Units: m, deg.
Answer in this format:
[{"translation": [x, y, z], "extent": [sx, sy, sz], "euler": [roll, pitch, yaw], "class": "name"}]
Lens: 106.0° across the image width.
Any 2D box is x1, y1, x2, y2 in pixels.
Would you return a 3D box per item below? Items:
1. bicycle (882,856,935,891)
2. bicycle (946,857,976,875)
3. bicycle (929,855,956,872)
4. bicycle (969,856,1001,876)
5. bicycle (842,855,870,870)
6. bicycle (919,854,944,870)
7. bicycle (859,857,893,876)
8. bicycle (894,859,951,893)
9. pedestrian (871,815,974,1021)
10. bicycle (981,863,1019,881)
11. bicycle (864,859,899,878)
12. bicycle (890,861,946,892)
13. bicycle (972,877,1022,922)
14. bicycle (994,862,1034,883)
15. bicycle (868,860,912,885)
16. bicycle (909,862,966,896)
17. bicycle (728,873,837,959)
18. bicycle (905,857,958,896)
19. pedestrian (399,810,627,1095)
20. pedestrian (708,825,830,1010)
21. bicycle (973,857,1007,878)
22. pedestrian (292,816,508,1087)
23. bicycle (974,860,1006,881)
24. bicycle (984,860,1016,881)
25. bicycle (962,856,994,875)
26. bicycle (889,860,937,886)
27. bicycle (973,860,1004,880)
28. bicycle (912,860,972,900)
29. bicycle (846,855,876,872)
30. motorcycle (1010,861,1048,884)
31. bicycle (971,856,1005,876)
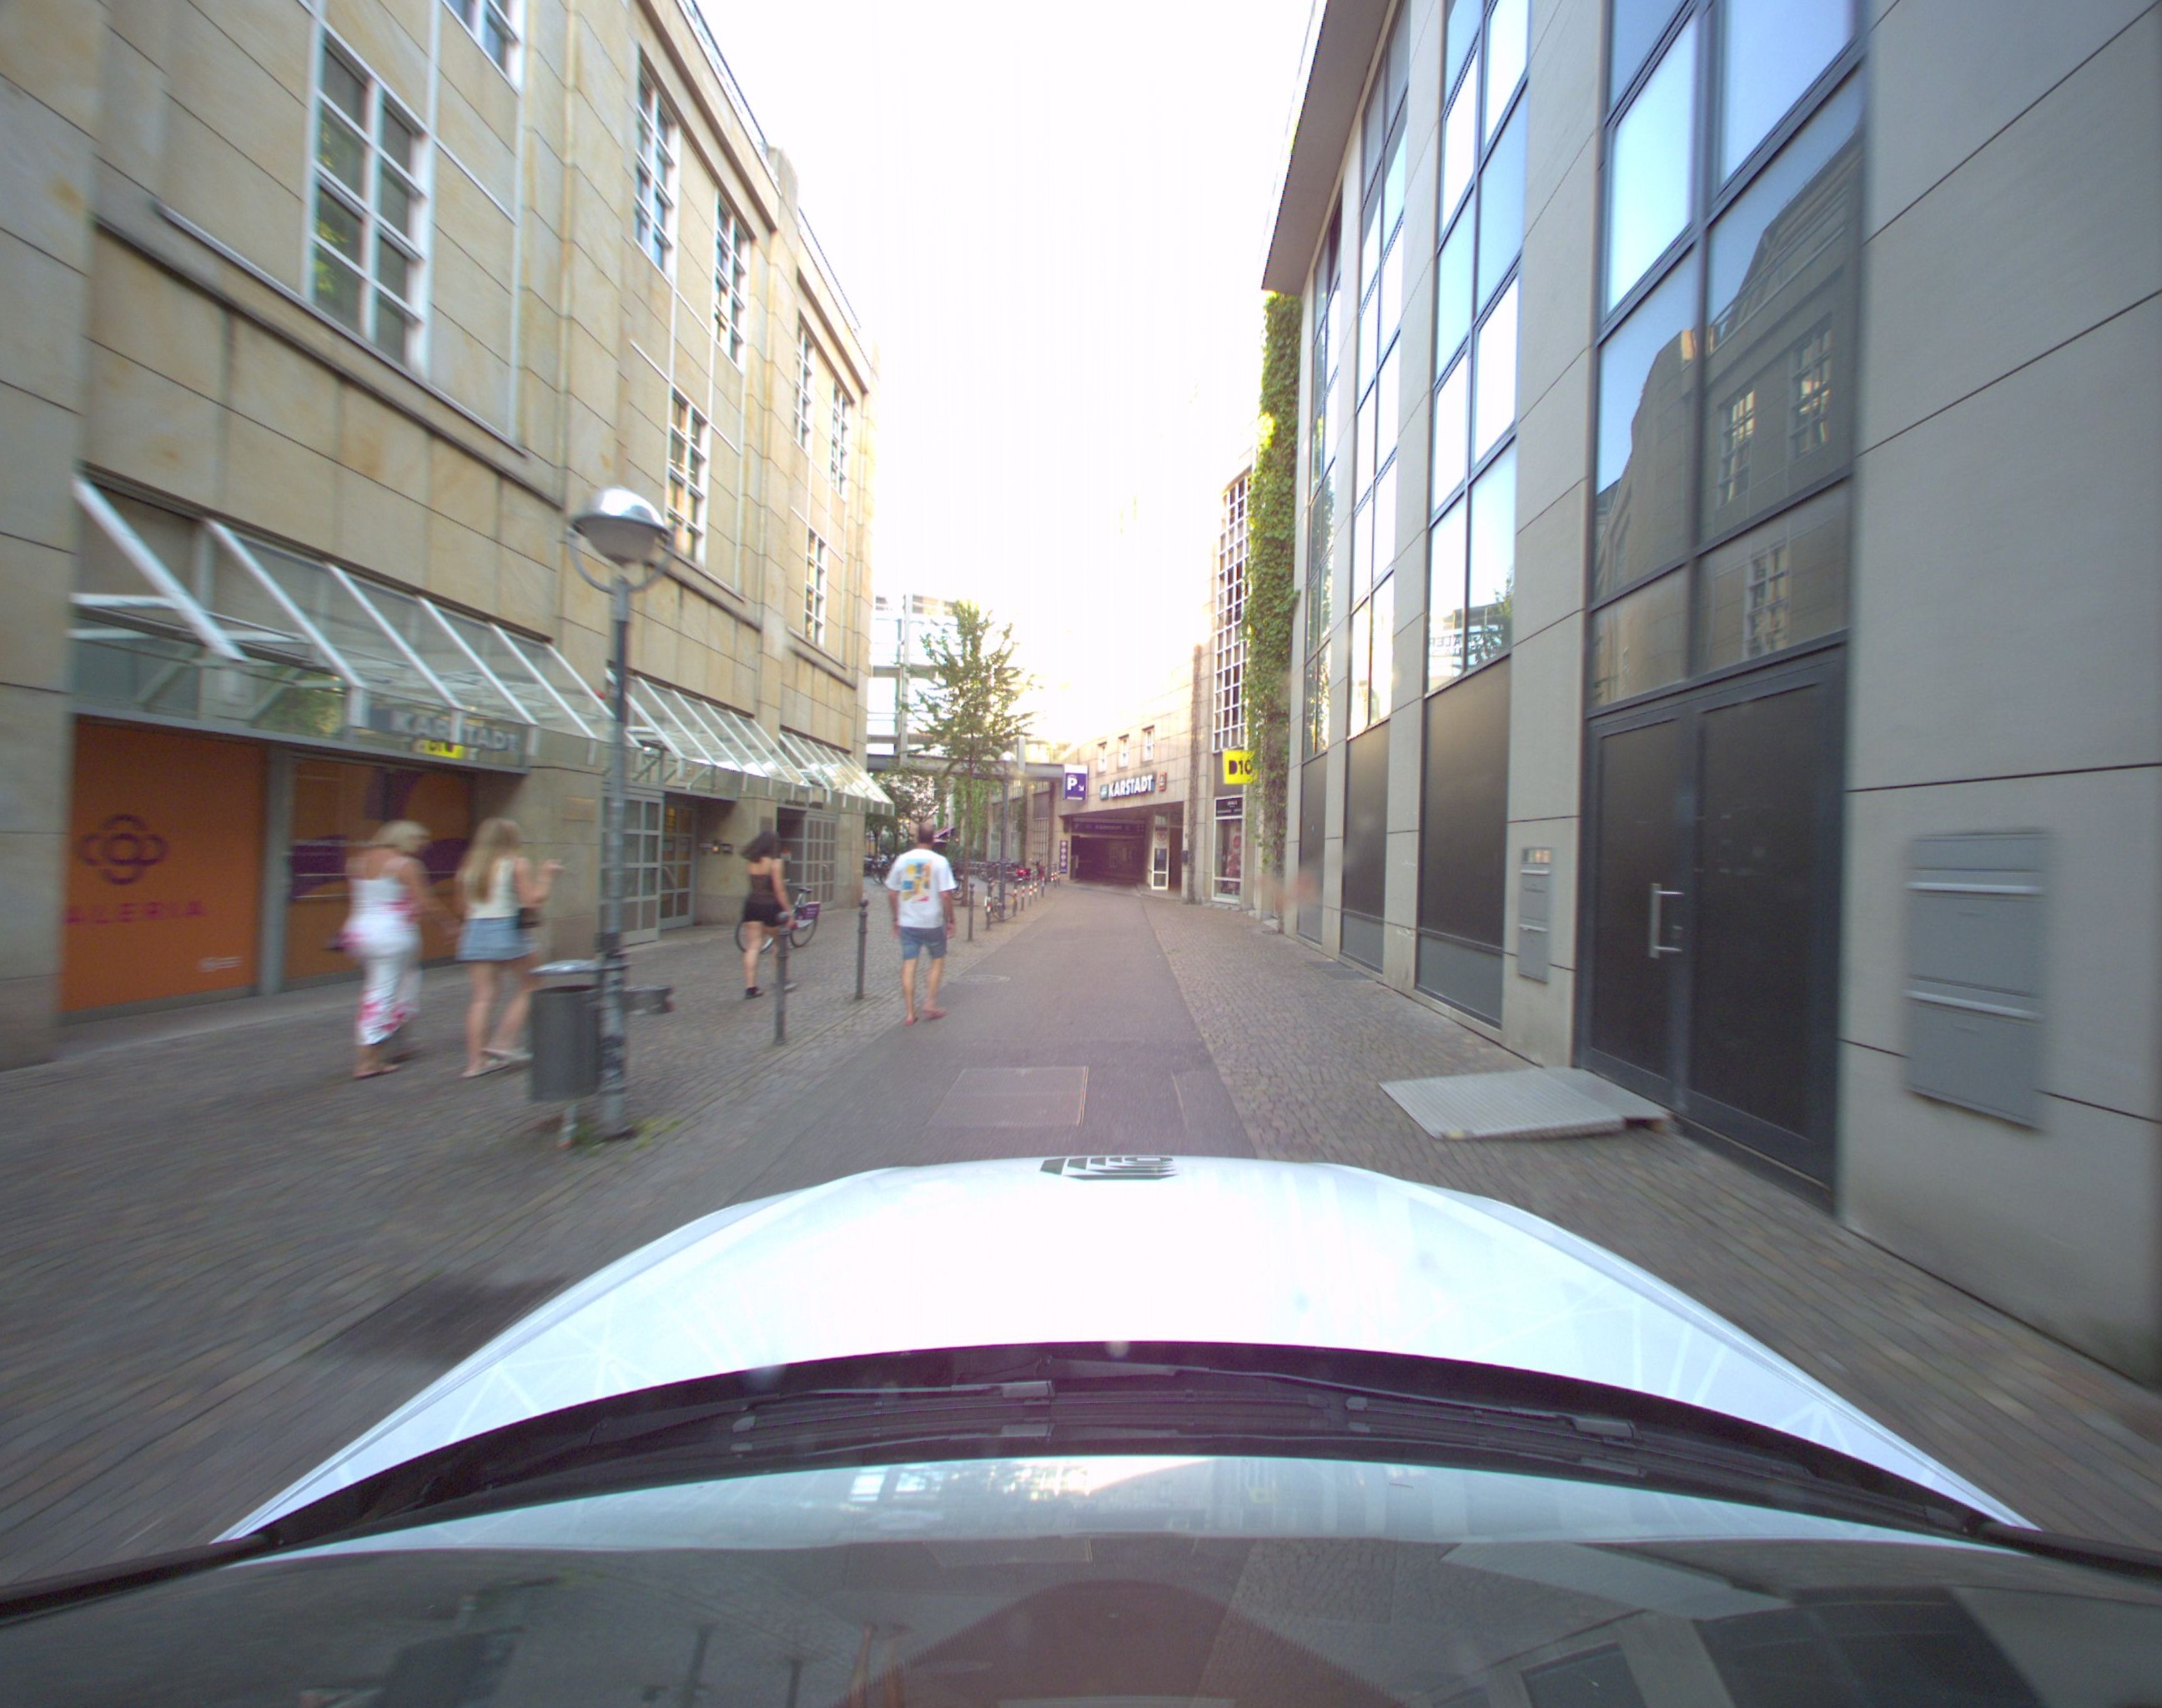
[{"translation": [-6.301, 0.704, 29.774], "extent": [1.840, 1.225, 0.530], "euler": [1, 0, -21], "class": "bicycle"}, {"translation": [-7.394, 0.727, 50.183], "extent": [1.778, 1.114, 0.539], "euler": [1, 0, -19], "class": "bicycle"}, {"translation": [-9.574, 0.672, 56.129], "extent": [1.777, 1.114, 0.540], "euler": [1, 0, -16], "class": "bicycle"}, {"translation": [-5.528, 0.705, 46.849], "extent": [1.778, 1.114, 0.539], "euler": [1, 0, -19], "class": "bicycle"}, {"translation": [-16.447, 0.619, 59.568], "extent": [1.911, 1.112, 0.478], "euler": [1, 0, -21], "class": "bicycle"}, {"translation": [-11.232, 0.579, 61.252], "extent": [1.778, 1.190, 0.583], "euler": [1, 0, -19], "class": "bicycle"}, {"translation": [-11.303, 0.681, 44.837], "extent": [1.786, 1.019, 0.478], "euler": [1, 0, -21], "class": "bicycle"}, {"translation": [-5.550, 0.770, 28.551], "extent": [1.879, 1.177, 0.530], "euler": [1, 0, -21], "class": "bicycle"}, {"translation": [-1.468, 0.567, 7.673], "extent": [0.739, 1.822, 0.878], "euler": [1, 0, 1], "class": "pedestrian"}, {"translation": [-3.972, 0.885, 40.033], "extent": [1.778, 0.904, 0.461], "euler": [1, 0, -19], "class": "bicycle"}, {"translation": [-10.761, 0.775, 43.986], "extent": [1.786, 1.019, 0.478], "euler": [1, 0, -21], "class": "bicycle"}, {"translation": [-5.810, 0.797, 29.087], "extent": [1.901, 1.052, 0.530], "euler": [1, 0, -21], "class": "bicycle"}, {"translation": [-1.932, 1.035, 18.886], "extent": [0.489, 0.939, 1.666], "euler": [3, 0, 17], "class": "bicycle"}, {"translation": [-3.207, 0.869, 39.163], "extent": [1.853, 0.982, 0.461], "euler": [1, 0, -19], "class": "bicycle"}, {"translation": [-8.295, 0.809, 35.368], "extent": [1.831, 1.043, 0.530], "euler": [1, 0, -21], "class": "bicycle"}, {"translation": [-4.859, 0.840, 27.579], "extent": [1.843, 1.122, 0.530], "euler": [1, 0, -21], "class": "bicycle"}, {"translation": [-4.396, 0.880, 12.127], "extent": [0.517, 1.138, 1.773], "euler": [1, 0, 18], "class": "bicycle"}, {"translation": [-4.904, 0.730, 26.729], "extent": [1.659, 1.230, 0.530], "euler": [1, 0, -21], "class": "bicycle"}, {"translation": [-3.752, 0.606, 5.478], "extent": [0.803, 1.729, 0.949], "euler": [2, 0, 1], "class": "pedestrian"}, {"translation": [-3.223, 0.622, 8.496], "extent": [0.781, 1.795, 0.974], "euler": [1, 0, 7], "class": "pedestrian"}, {"translation": [-4.988, 0.758, 44.559], "extent": [1.778, 1.114, 0.539], "euler": [1, 0, -19], "class": "bicycle"}, {"translation": [-4.540, 0.605, 5.498], "extent": [0.672, 1.664, 0.860], "euler": [2, 0, 1], "class": "pedestrian"}, {"translation": [-4.676, 0.832, 41.979], "extent": [1.544, 1.049, 0.572], "euler": [1, 0, -19], "class": "bicycle"}, {"translation": [-4.082, 0.820, 40.987], "extent": [1.544, 1.049, 0.572], "euler": [1, 0, -19], "class": "bicycle"}, {"translation": [-6.034, 0.680, 47.893], "extent": [1.778, 1.114, 0.539], "euler": [1, 0, -19], "class": "bicycle"}, {"translation": [-6.919, 0.768, 33.576], "extent": [1.883, 1.043, 0.530], "euler": [1, 0, -21], "class": "bicycle"}, {"translation": [-4.932, 0.850, 43.382], "extent": [1.544, 1.049, 0.572], "euler": [1, 0, -19], "class": "bicycle"}, {"translation": [-4.338, 0.807, 25.395], "extent": [1.772, 1.230, 0.530], "euler": [1, 0, -21], "class": "bicycle"}, {"translation": [-14.990, 0.665, 55.411], "extent": [1.911, 1.112, 0.478], "euler": [1, 0, -21], "class": "bicycle"}, {"translation": [-2.397, 0.861, 37.516], "extent": [1.667, 1.050, 0.461], "euler": [1, 0, -19], "class": "motorcycle"}, {"translation": [-5.211, 0.658, 45.639], "extent": [1.778, 1.114, 0.539], "euler": [1, 0, -19], "class": "bicycle"}]
